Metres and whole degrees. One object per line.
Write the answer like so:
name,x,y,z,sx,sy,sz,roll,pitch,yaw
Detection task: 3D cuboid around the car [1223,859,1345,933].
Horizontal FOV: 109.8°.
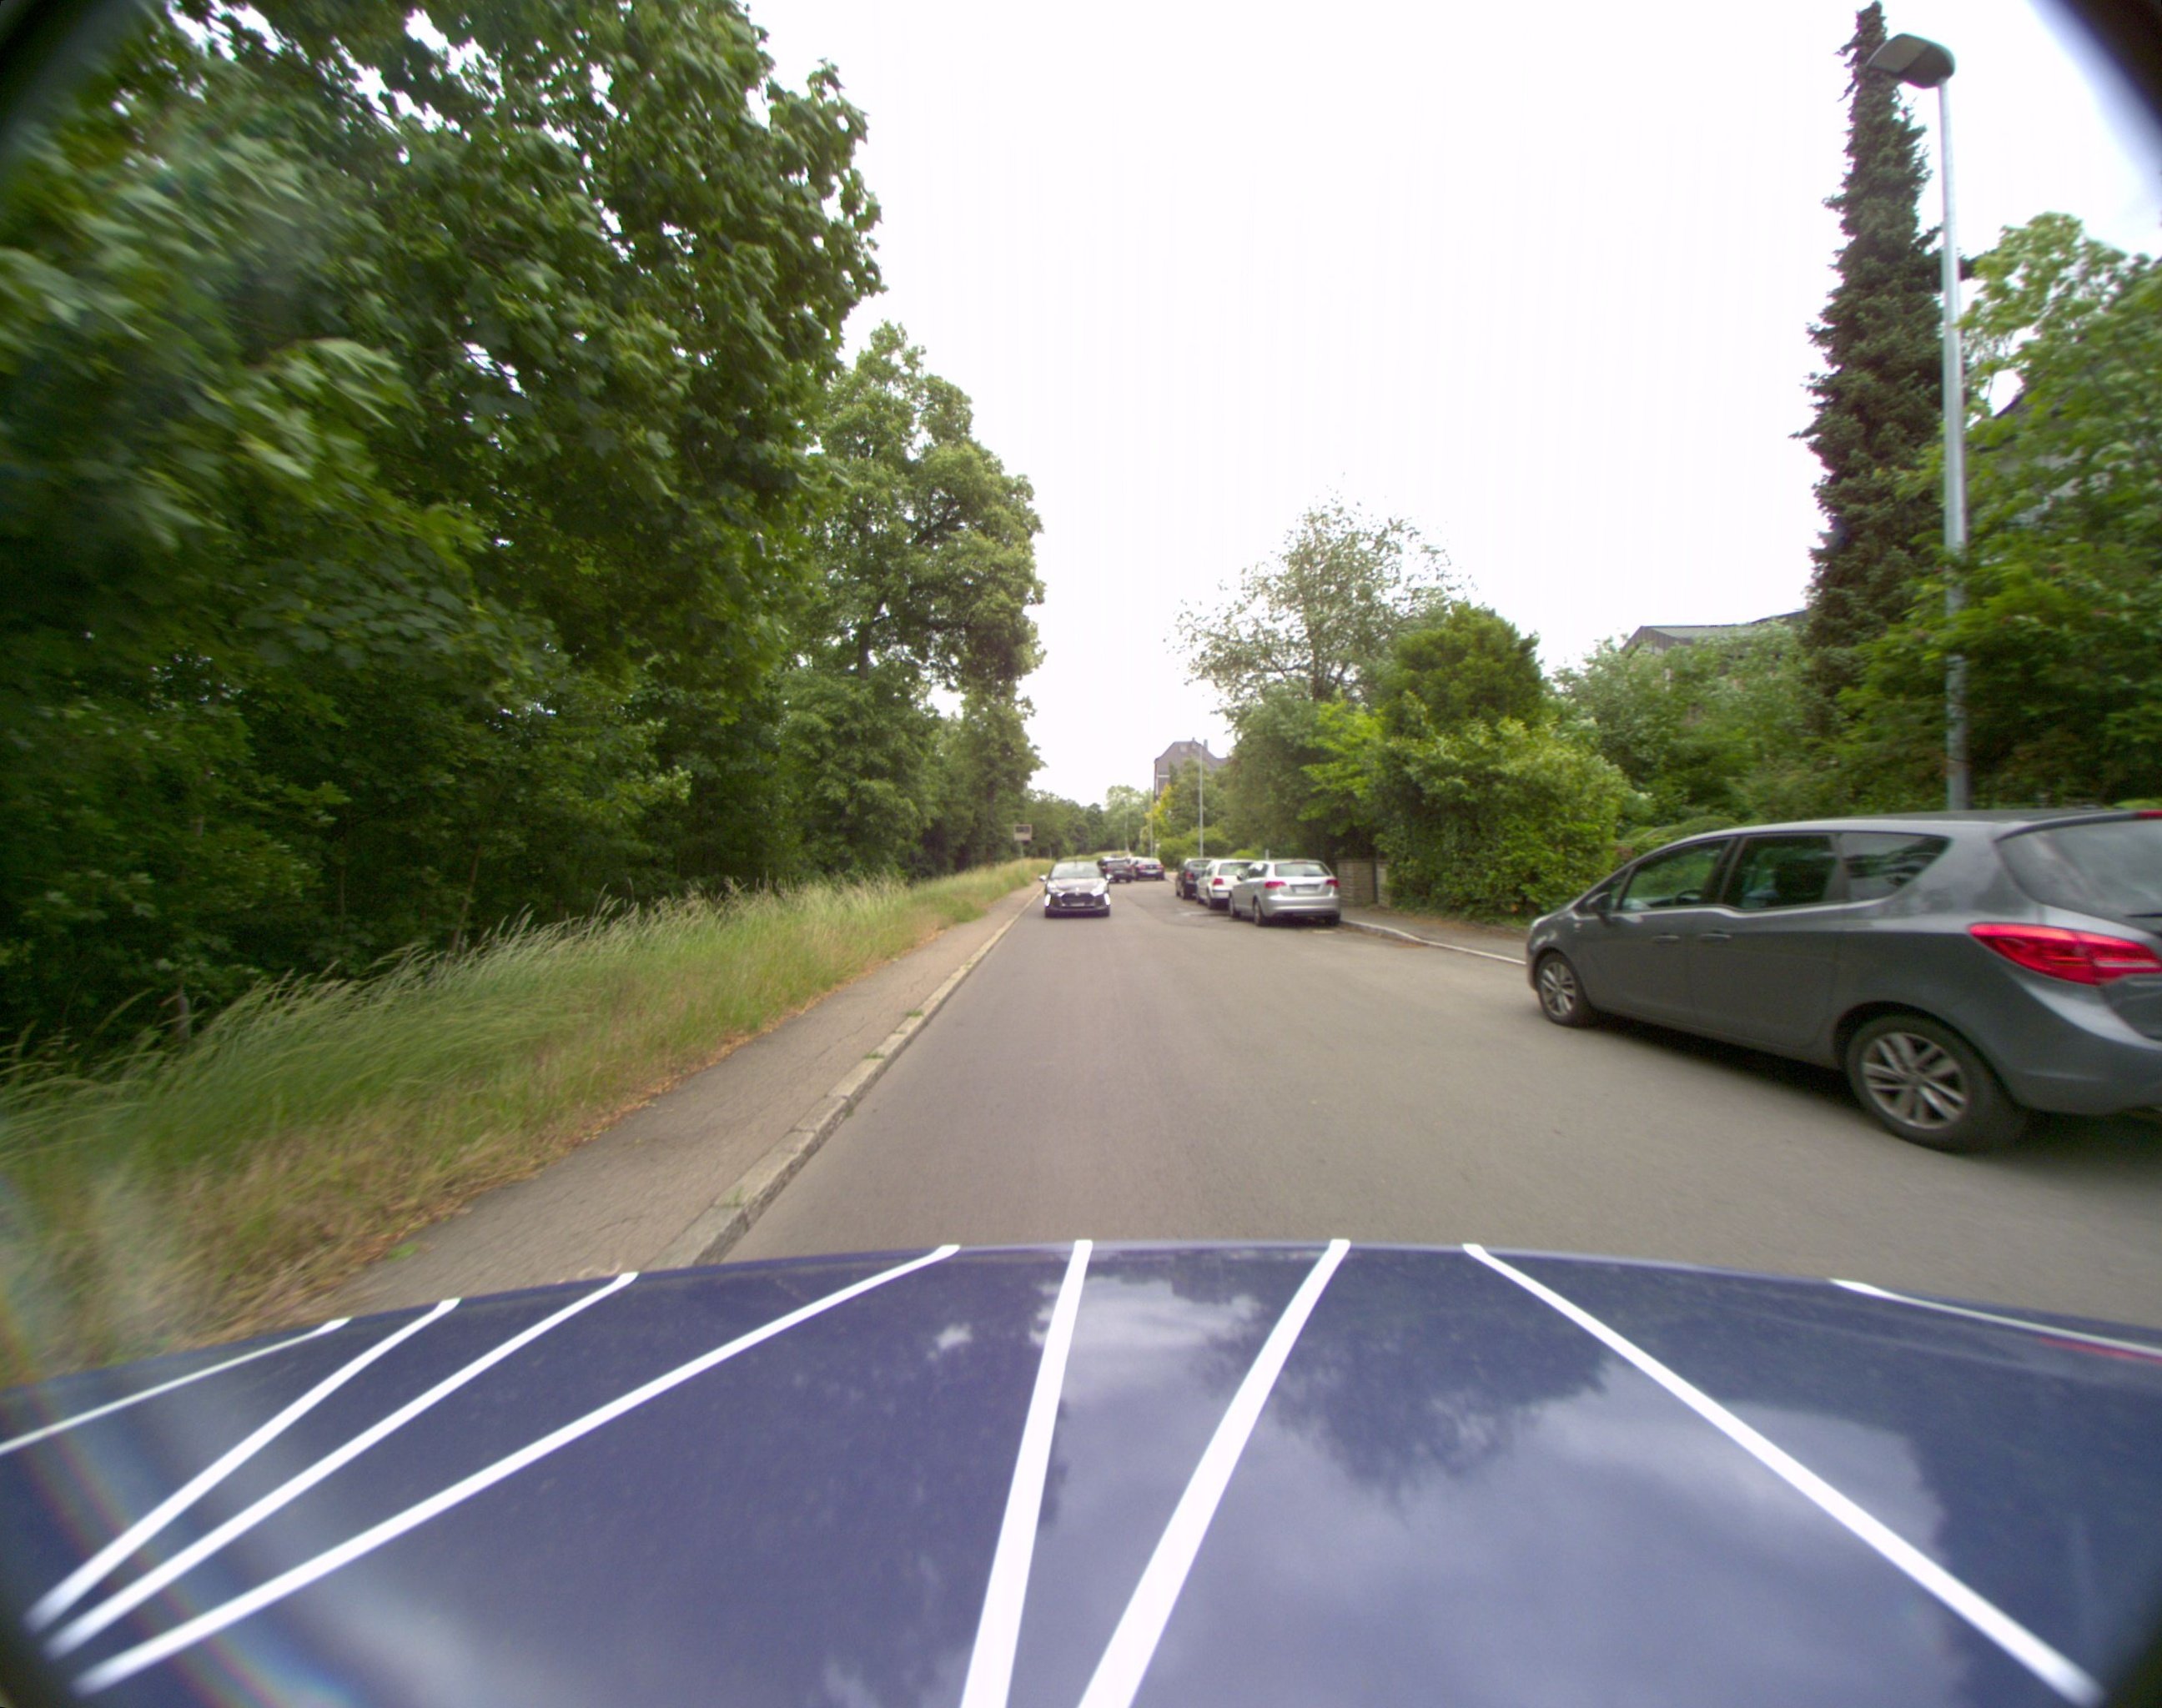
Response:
car,4.456,0.850,17.290,1.627,1.441,4.093,-1,0,-1

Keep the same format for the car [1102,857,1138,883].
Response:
car,2.308,0.899,45.482,1.785,1.417,4.489,-1,0,-1

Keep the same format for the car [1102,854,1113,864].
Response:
car,4.135,0.717,116.516,1.646,1.461,4.072,1,0,3

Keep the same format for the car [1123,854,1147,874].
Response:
car,4.186,0.735,59.397,1.628,1.474,4.000,0,0,0

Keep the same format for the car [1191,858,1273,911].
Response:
car,4.464,0.851,23.077,1.664,1.444,4.381,-1,0,1

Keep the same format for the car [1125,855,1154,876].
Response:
car,4.142,0.772,54.504,1.628,1.423,4.350,0,0,-1

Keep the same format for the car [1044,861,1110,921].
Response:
car,-0.045,0.940,20.954,1.619,1.460,4.000,-1,0,2

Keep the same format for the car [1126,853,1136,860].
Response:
car,10.990,0.546,168.046,1.735,1.420,3.460,0,1,11

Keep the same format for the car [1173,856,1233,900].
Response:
car,4.381,0.826,27.797,1.627,1.441,3.969,-1,0,2

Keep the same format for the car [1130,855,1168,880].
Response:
car,4.220,0.818,48.016,1.783,1.423,5.104,-1,0,-1

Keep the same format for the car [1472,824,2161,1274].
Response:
car,4.695,0.691,5.069,1.735,1.623,4.568,-2,0,-1
